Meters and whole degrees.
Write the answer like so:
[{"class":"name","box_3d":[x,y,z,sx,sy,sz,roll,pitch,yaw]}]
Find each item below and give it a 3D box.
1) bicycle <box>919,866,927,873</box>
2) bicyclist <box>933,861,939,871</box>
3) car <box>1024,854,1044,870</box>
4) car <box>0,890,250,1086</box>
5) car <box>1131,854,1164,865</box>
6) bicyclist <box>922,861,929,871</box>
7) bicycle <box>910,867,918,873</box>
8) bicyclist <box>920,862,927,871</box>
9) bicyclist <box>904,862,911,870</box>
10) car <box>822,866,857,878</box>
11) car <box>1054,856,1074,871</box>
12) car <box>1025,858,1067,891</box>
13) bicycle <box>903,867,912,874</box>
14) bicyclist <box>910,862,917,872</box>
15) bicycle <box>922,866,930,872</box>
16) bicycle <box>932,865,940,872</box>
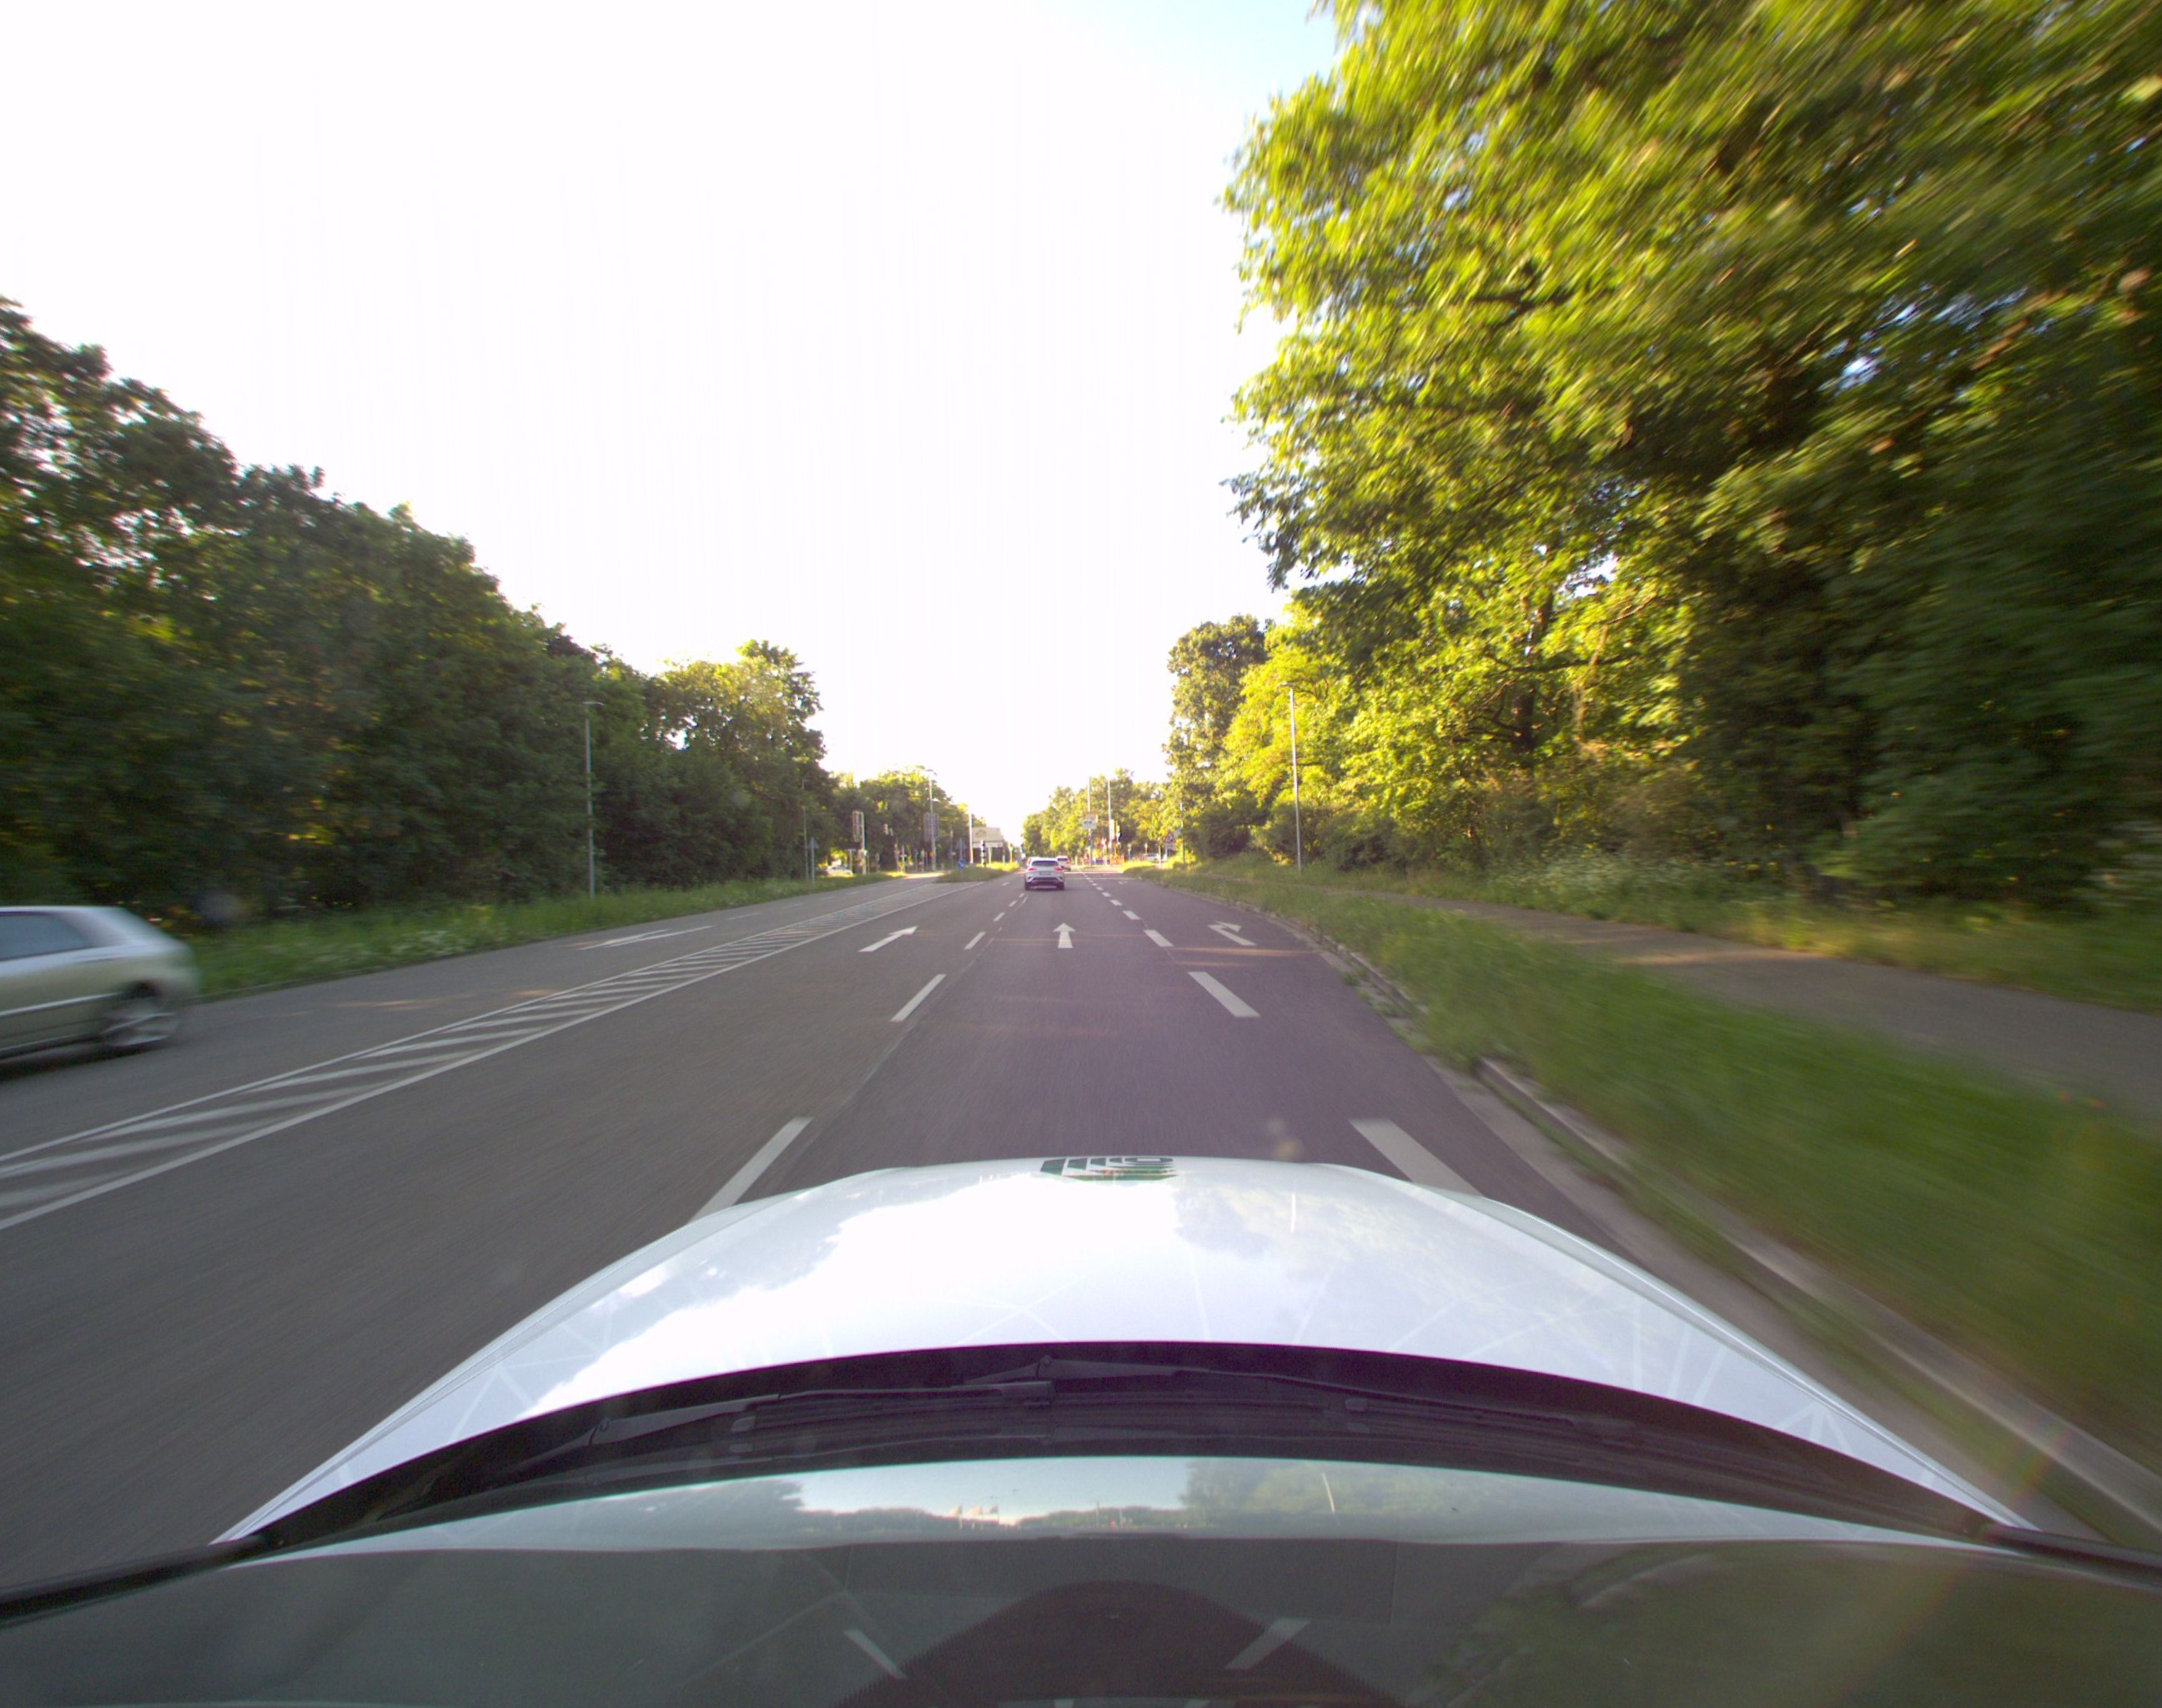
[{"class":"bicycle","box_3d":[-23.008,2.230,118.825,0.712,0.914,1.911,-2,0,2]},{"class":"bicyclist","box_3d":[-21.144,1.757,118.888,0.712,1.339,0.991,-2,0,1]},{"class":"car","box_3d":[-5.363,0.890,92.775,1.991,1.684,3.992,-2,0,-6]},{"class":"car","box_3d":[-9.420,1.163,6.182,1.826,1.455,4.471,-5,0,-6]},{"class":"car","box_3d":[10.662,0.813,129.977,4.839,1.580,1.984,-2,0,-24]},{"class":"bicyclist","box_3d":[-23.022,1.788,120.462,0.712,1.342,0.991,-2,0,1]},{"class":"bicycle","box_3d":[-24.234,2.316,117.938,0.712,0.914,1.911,-2,0,2]},{"class":"bicyclist","box_3d":[-23.023,1.796,118.824,0.712,1.355,0.991,-2,0,1]},{"class":"bicyclist","box_3d":[-25.166,1.752,117.983,0.712,1.192,0.991,-2,0,1]},{"class":"car","box_3d":[-30.045,2.238,101.432,3.809,1.389,1.911,-2,0,-28]},{"class":"car","box_3d":[-1.736,1.003,84.667,1.934,1.414,3.998,-2,0,-1]},{"class":"car","box_3d":[-1.643,0.917,38.686,1.858,1.444,3.997,-1,0,-2]},{"class":"bicycle","box_3d":[-25.141,2.344,117.979,0.712,0.914,1.911,-2,1,2]},{"class":"bicyclist","box_3d":[-24.258,1.834,117.907,0.708,1.389,0.991,-2,0,1]},{"class":"bicycle","box_3d":[-22.992,2.228,120.918,0.712,0.914,1.911,-2,0,2]},{"class":"bicycle","box_3d":[-21.133,2.150,118.826,0.712,0.914,1.911,-2,0,2]}]
